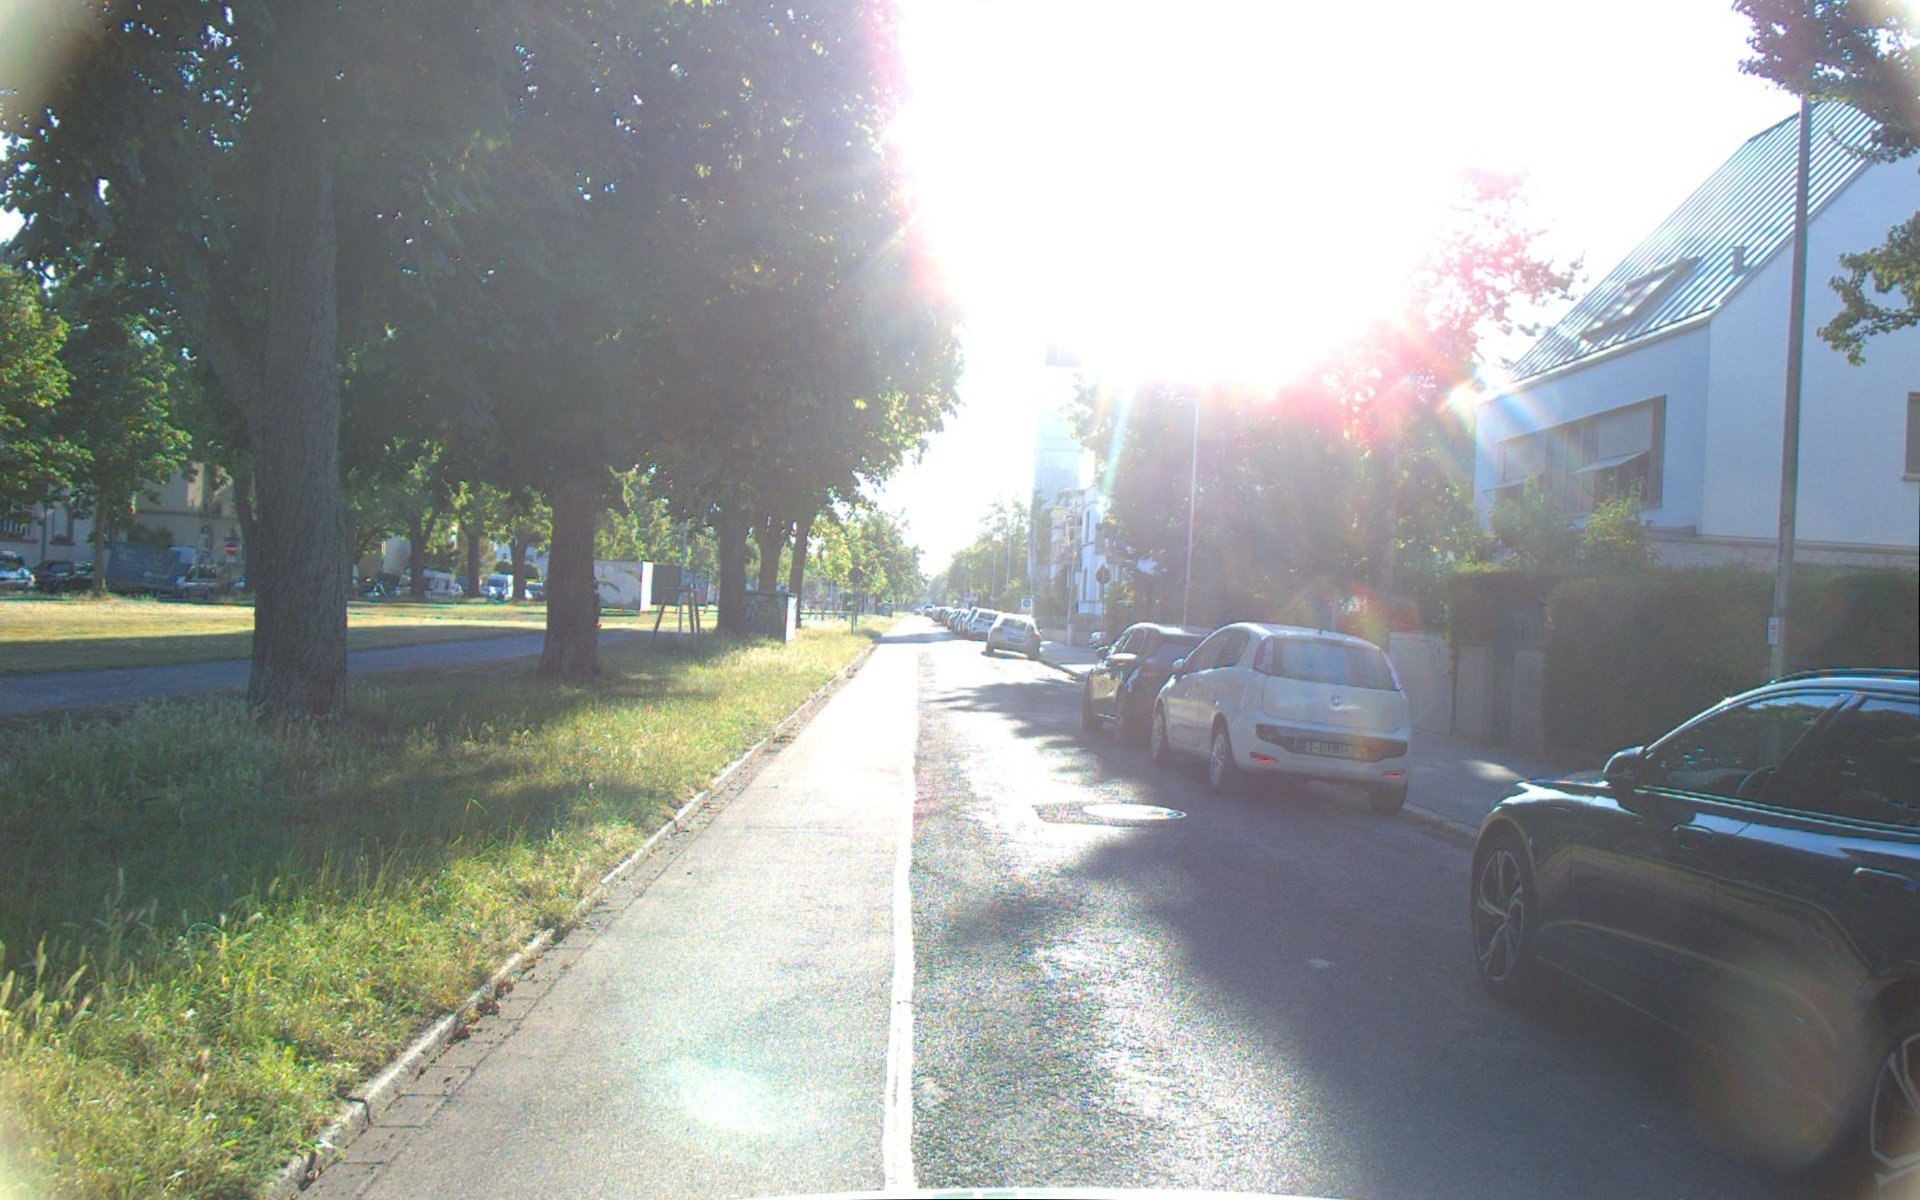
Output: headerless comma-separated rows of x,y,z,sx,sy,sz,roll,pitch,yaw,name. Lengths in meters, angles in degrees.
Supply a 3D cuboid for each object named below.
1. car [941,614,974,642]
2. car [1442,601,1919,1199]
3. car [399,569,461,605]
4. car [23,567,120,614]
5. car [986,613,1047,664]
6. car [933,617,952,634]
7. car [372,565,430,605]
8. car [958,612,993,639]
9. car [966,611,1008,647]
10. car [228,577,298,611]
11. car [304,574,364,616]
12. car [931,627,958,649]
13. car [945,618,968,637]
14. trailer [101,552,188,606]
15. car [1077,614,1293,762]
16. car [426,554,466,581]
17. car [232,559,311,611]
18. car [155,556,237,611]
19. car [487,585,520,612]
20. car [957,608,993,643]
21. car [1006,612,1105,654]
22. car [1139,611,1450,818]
-0.173,1.700,101.137,1.723,1.633,4.356,2,-1,-3,car
3.163,0.832,5.149,1.757,1.518,4.672,3,-1,-2,car
-35.758,-0.843,111.765,2.483,2.275,5.457,2,0,-1,car
-40.699,-0.414,75.886,1.954,1.987,4.748,3,-1,-3,car
1.931,1.323,57.708,1.723,1.443,4.071,9,-1,-1,car
-1.946,2.837,182.722,1.940,1.712,3.999,3,-1,0,car
-35.262,-0.911,104.457,1.953,2.289,5.185,2,-1,-1,car
0.883,1.479,96.409,1.726,1.445,3.997,2,-1,-3,car
1.291,1.418,80.923,1.723,1.633,4.356,2,-1,-3,car
-34.984,-0.287,83.170,1.650,1.587,4.313,2,-1,-1,car
-35.346,-0.261,93.492,1.650,2.214,4.313,2,-1,-1,car
-1.130,2.817,122.093,1.953,1.489,3.999,3,-1,0,car
-0.303,2.463,148.258,1.953,1.658,3.999,3,-1,0,car
-40.753,-1.026,82.803,1.953,2.470,4.722,2,-1,-1,trailer
2.644,0.997,20.447,1.715,1.502,4.284,4,-1,-4,car
-42.435,-2.641,136.632,1.953,2.049,4.483,0,-1,-2,car
-41.387,-0.872,99.558,2.388,2.973,5.815,0,-1,-2,car
-40.922,-0.851,88.717,1.953,2.719,5.185,2,-1,-1,car
-42.937,-0.131,155.525,1.953,2.452,4.362,0,-1,-1,car
0.782,1.325,86.877,1.651,1.679,4.098,3,0,-2,car
4.088,1.410,71.139,3.913,1.444,1.764,4,2,-9,car
2.950,0.951,15.445,1.659,1.508,3.924,7,-1,-5,car
